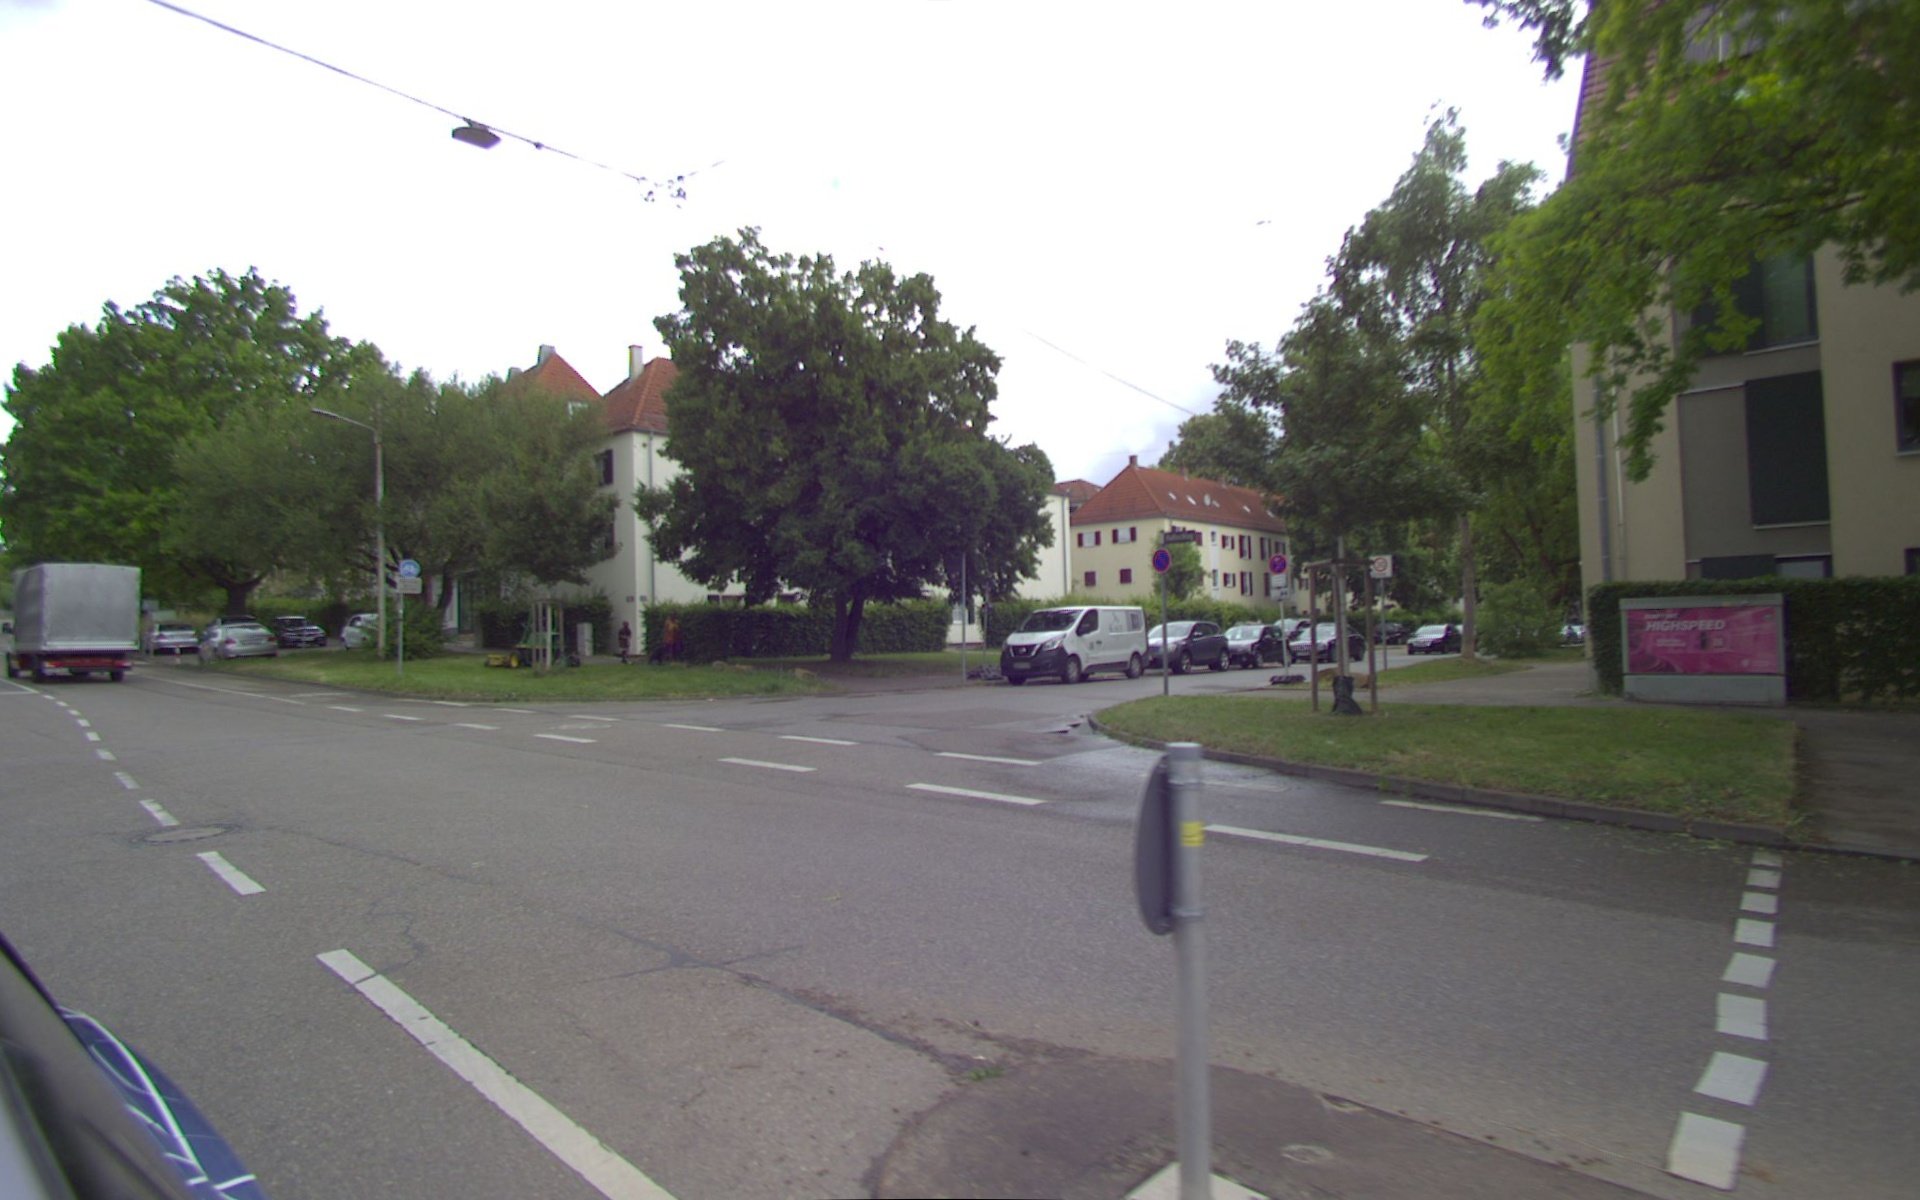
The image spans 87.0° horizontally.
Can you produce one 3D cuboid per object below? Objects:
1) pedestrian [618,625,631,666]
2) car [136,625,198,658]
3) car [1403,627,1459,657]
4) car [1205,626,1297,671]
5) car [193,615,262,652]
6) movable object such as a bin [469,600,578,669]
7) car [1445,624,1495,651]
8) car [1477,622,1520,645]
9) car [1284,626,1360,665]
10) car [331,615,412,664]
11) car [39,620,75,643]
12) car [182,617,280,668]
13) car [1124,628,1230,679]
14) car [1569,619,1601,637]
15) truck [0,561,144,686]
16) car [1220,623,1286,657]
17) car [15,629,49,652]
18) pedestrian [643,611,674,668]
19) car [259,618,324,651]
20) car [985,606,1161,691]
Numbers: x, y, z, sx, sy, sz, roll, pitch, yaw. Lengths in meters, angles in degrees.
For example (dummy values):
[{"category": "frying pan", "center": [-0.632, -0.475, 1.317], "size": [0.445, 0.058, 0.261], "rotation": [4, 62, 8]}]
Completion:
[{"category": "pedestrian", "center": [-10.537, 1.420, 31.770], "size": [0.353, 1.281, 0.361], "rotation": [1, -2, -26]}, {"category": "car", "center": [-35.920, 1.852, 45.793], "size": [3.999, 1.364, 1.583], "rotation": [-1, -1, 42]}, {"category": "car", "center": [23.337, 2.046, 50.075], "size": [1.538, 1.323, 3.490], "rotation": [-1, 0, 42]}, {"category": "car", "center": [9.738, 1.568, 33.743], "size": [1.538, 1.323, 3.490], "rotation": [-1, 0, 42]}, {"category": "car", "center": [-34.192, 1.547, 47.191], "size": [3.999, 1.618, 1.836], "rotation": [-1, 0, 42]}, {"category": "movable object such as a bin", "center": [-12.726, 0.992, 29.457], "size": [3.233, 1.918, 1.089], "rotation": [-1, -1, 27]}, {"category": "car", "center": [27.757, 2.031, 55.033], "size": [1.538, 1.323, 3.490], "rotation": [-1, 0, 42]}, {"category": "car", "center": [33.918, 2.084, 63.716], "size": [1.538, 1.323, 3.490], "rotation": [-1, 0, 42]}, {"category": "car", "center": [13.914, 1.719, 38.799], "size": [1.538, 1.323, 3.490], "rotation": [-1, 0, 42]}, {"category": "car", "center": [-24.134, 1.569, 41.437], "size": [3.999, 1.904, 1.732], "rotation": [-1, -1, 42]}, {"category": "car", "center": [-56.806, 1.958, 63.654], "size": [1.598, 1.408, 3.682], "rotation": [0, -1, -43]}, {"category": "car", "center": [-26.679, 1.507, 36.994], "size": [4.544, 1.689, 1.973], "rotation": [-1, -1, 42]}, {"category": "car", "center": [6.512, 1.551, 30.159], "size": [1.538, 1.323, 3.490], "rotation": [-1, 0, 42]}, {"category": "car", "center": [50.354, 2.244, 81.516], "size": [1.538, 1.323, 3.490], "rotation": [-1, 0, 42]}, {"category": "truck", "center": [-26.349, 0.676, 29.739], "size": [7.211, 3.262, 2.341], "rotation": [-1, -2, 40]}, {"category": "car", "center": [13.345, 1.782, 46.054], "size": [1.584, 1.392, 3.403], "rotation": [-1, 0, 41]}, {"category": "car", "center": [-60.940, 2.660, 66.424], "size": [1.598, 1.408, 3.682], "rotation": [0, -1, -43]}, {"category": "pedestrian", "center": [-9.623, 1.249, 32.324], "size": [0.682, 1.770, 0.775], "rotation": [-1, -1, 9]}, {"category": "car", "center": [-31.831, 1.619, 48.154], "size": [3.871, 1.442, 1.658], "rotation": [-1, -1, 42]}, {"category": "car", "center": [3.042, 1.151, 26.228], "size": [1.999, 1.932, 5.087], "rotation": [-1, 0, 41]}]
